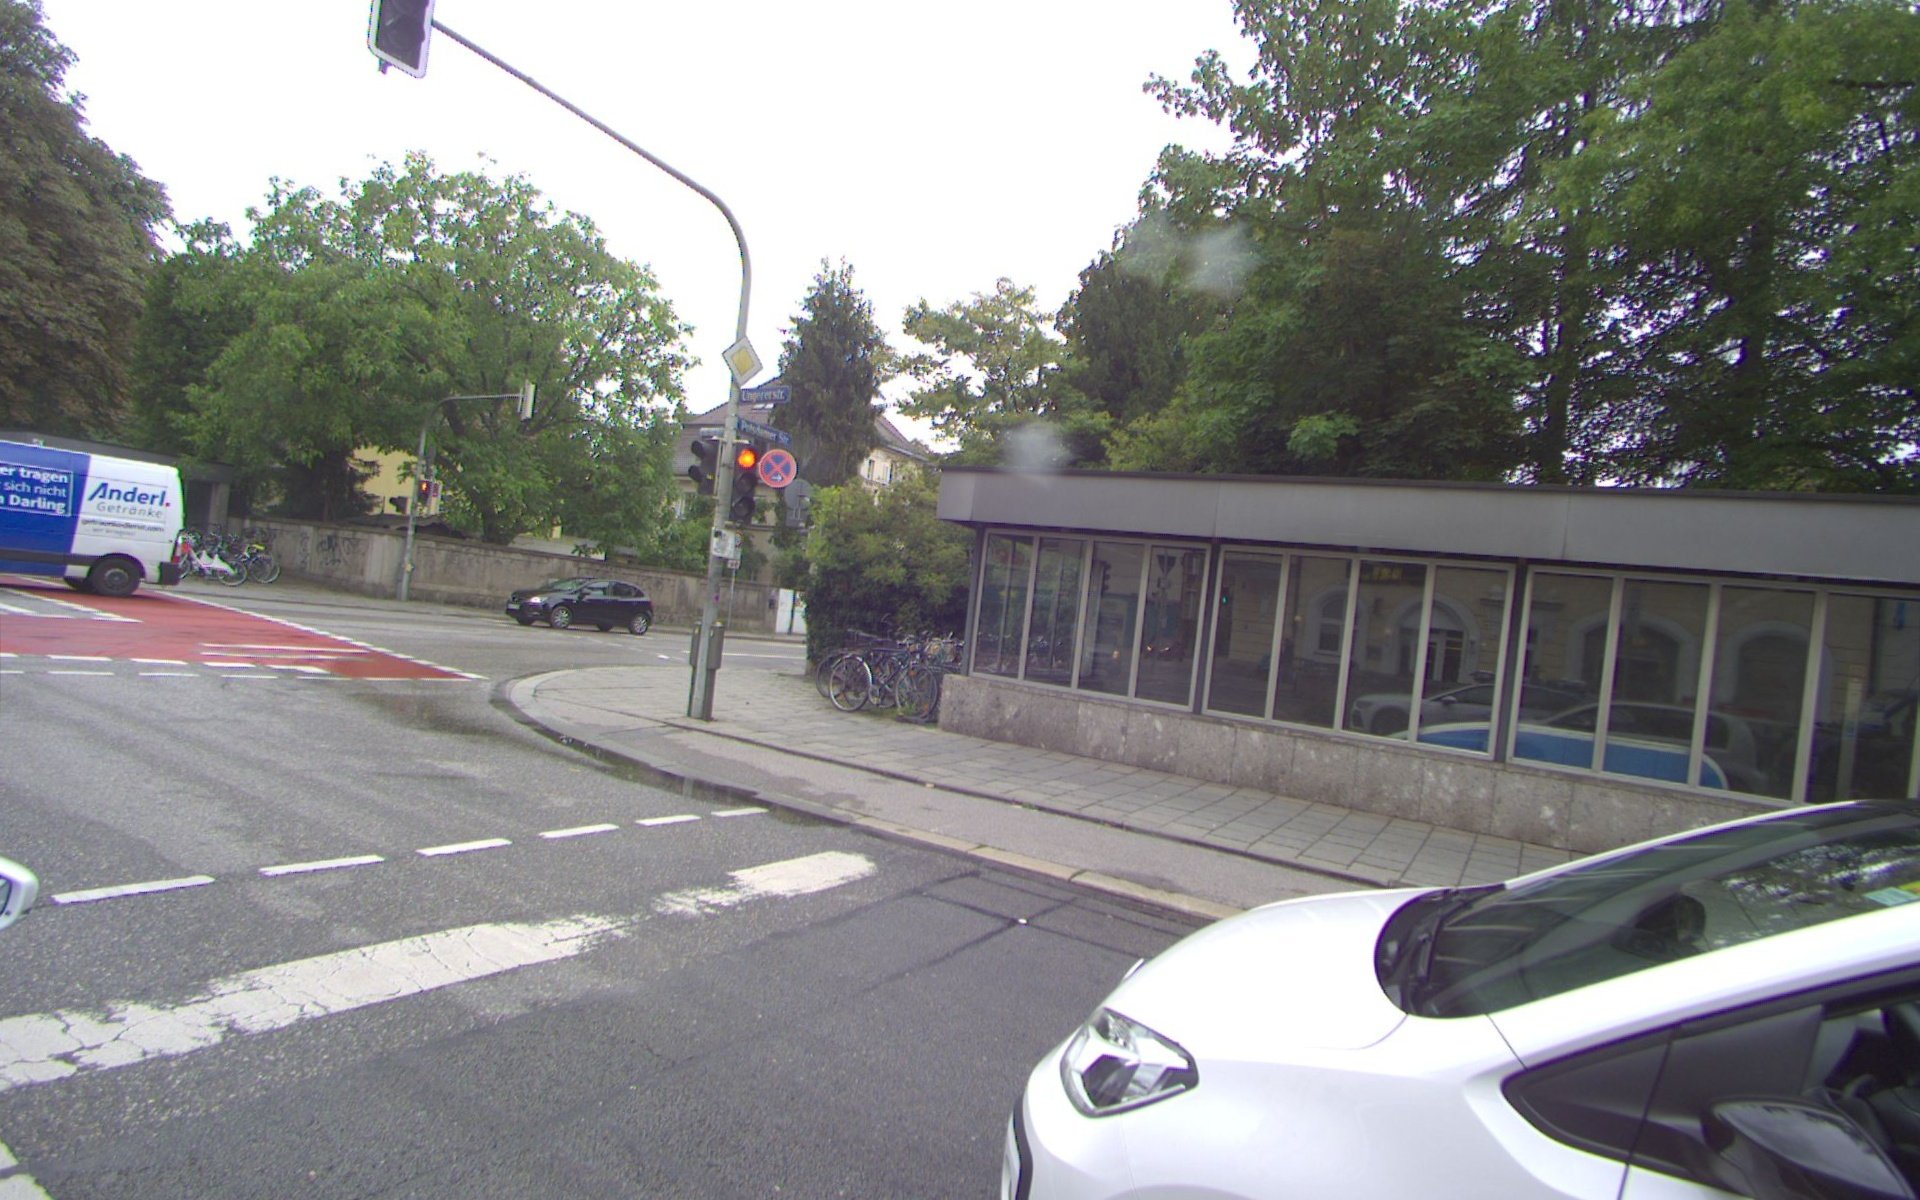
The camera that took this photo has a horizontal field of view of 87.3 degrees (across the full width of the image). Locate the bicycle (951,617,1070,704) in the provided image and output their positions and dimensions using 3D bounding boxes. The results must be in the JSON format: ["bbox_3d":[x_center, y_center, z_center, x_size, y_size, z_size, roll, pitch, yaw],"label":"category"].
[{"bbox_3d":[0.761,0.922,15.485,1.707,1.135,0.469,6,0,32],"label":"bicycle"}]

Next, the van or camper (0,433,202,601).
[{"bbox_3d":[-16.501,-1.549,16.868,2.034,2.499,5.555,7,-1,35],"label":"van or camper"}]

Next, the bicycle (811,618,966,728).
[{"bbox_3d":[-0.923,0.899,12.706,1.858,1.135,0.600,6,0,32],"label":"bicycle"}]

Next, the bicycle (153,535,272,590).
[{"bbox_3d":[-17.921,-0.883,24.177,0.594,1.026,2.141,7,-1,39],"label":"bicycle"}]

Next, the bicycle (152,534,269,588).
[{"bbox_3d":[-18.337,-0.938,24.669,0.625,1.026,2.141,7,-1,39],"label":"bicycle"}]

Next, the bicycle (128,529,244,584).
[{"bbox_3d":[-19.118,-1.057,24.894,0.594,1.084,2.141,7,-1,39],"label":"bicycle"}]

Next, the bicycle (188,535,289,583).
[{"bbox_3d":[-20.166,-1.130,28.165,0.625,1.026,2.141,7,-1,39],"label":"bicycle"}]

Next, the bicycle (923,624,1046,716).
[{"bbox_3d":[0.345,1.012,14.838,1.707,1.135,0.469,6,0,32],"label":"bicycle"}]

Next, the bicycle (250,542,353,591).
[{"bbox_3d":[-17.449,-0.875,26.699,0.625,1.026,2.141,7,-1,39],"label":"bicycle"}]

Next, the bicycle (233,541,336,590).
[{"bbox_3d":[-18.145,-0.905,27.067,0.625,1.026,2.141,7,-1,39],"label":"bicycle"}]

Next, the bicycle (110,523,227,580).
[{"bbox_3d":[-19.726,-1.201,25.113,0.594,1.114,2.141,7,-1,39],"label":"bicycle"}]

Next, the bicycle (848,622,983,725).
[{"bbox_3d":[-0.600,0.945,13.276,1.707,1.135,0.469,6,0,32],"label":"bicycle"}]

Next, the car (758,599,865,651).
[{"bbox_3d":[-5.057,0.888,34.647,1.613,1.414,3.691,7,-1,29],"label":"car"}]

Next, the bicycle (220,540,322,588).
[{"bbox_3d":[-18.782,-0.972,27.467,0.625,1.026,2.141,7,-1,39],"label":"bicycle"}]

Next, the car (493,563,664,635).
[{"bbox_3d":[-9.987,0.016,26.559,1.669,1.414,3.838,7,-1,37],"label":"car"}]

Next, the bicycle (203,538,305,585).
[{"bbox_3d":[-19.485,-1.053,27.807,0.625,1.026,2.141,7,-1,39],"label":"bicycle"}]

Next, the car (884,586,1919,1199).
[{"bbox_3d":[1.812,1.001,1.643,3.526,1.581,1.645,7,0,31],"label":"car"}]

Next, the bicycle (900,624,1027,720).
[{"bbox_3d":[0.034,1.009,14.323,1.707,1.135,0.469,6,0,32],"label":"bicycle"}]

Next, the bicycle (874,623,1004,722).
[{"bbox_3d":[-0.304,0.977,13.775,1.707,1.135,0.469,6,0,32],"label":"bicycle"}]
